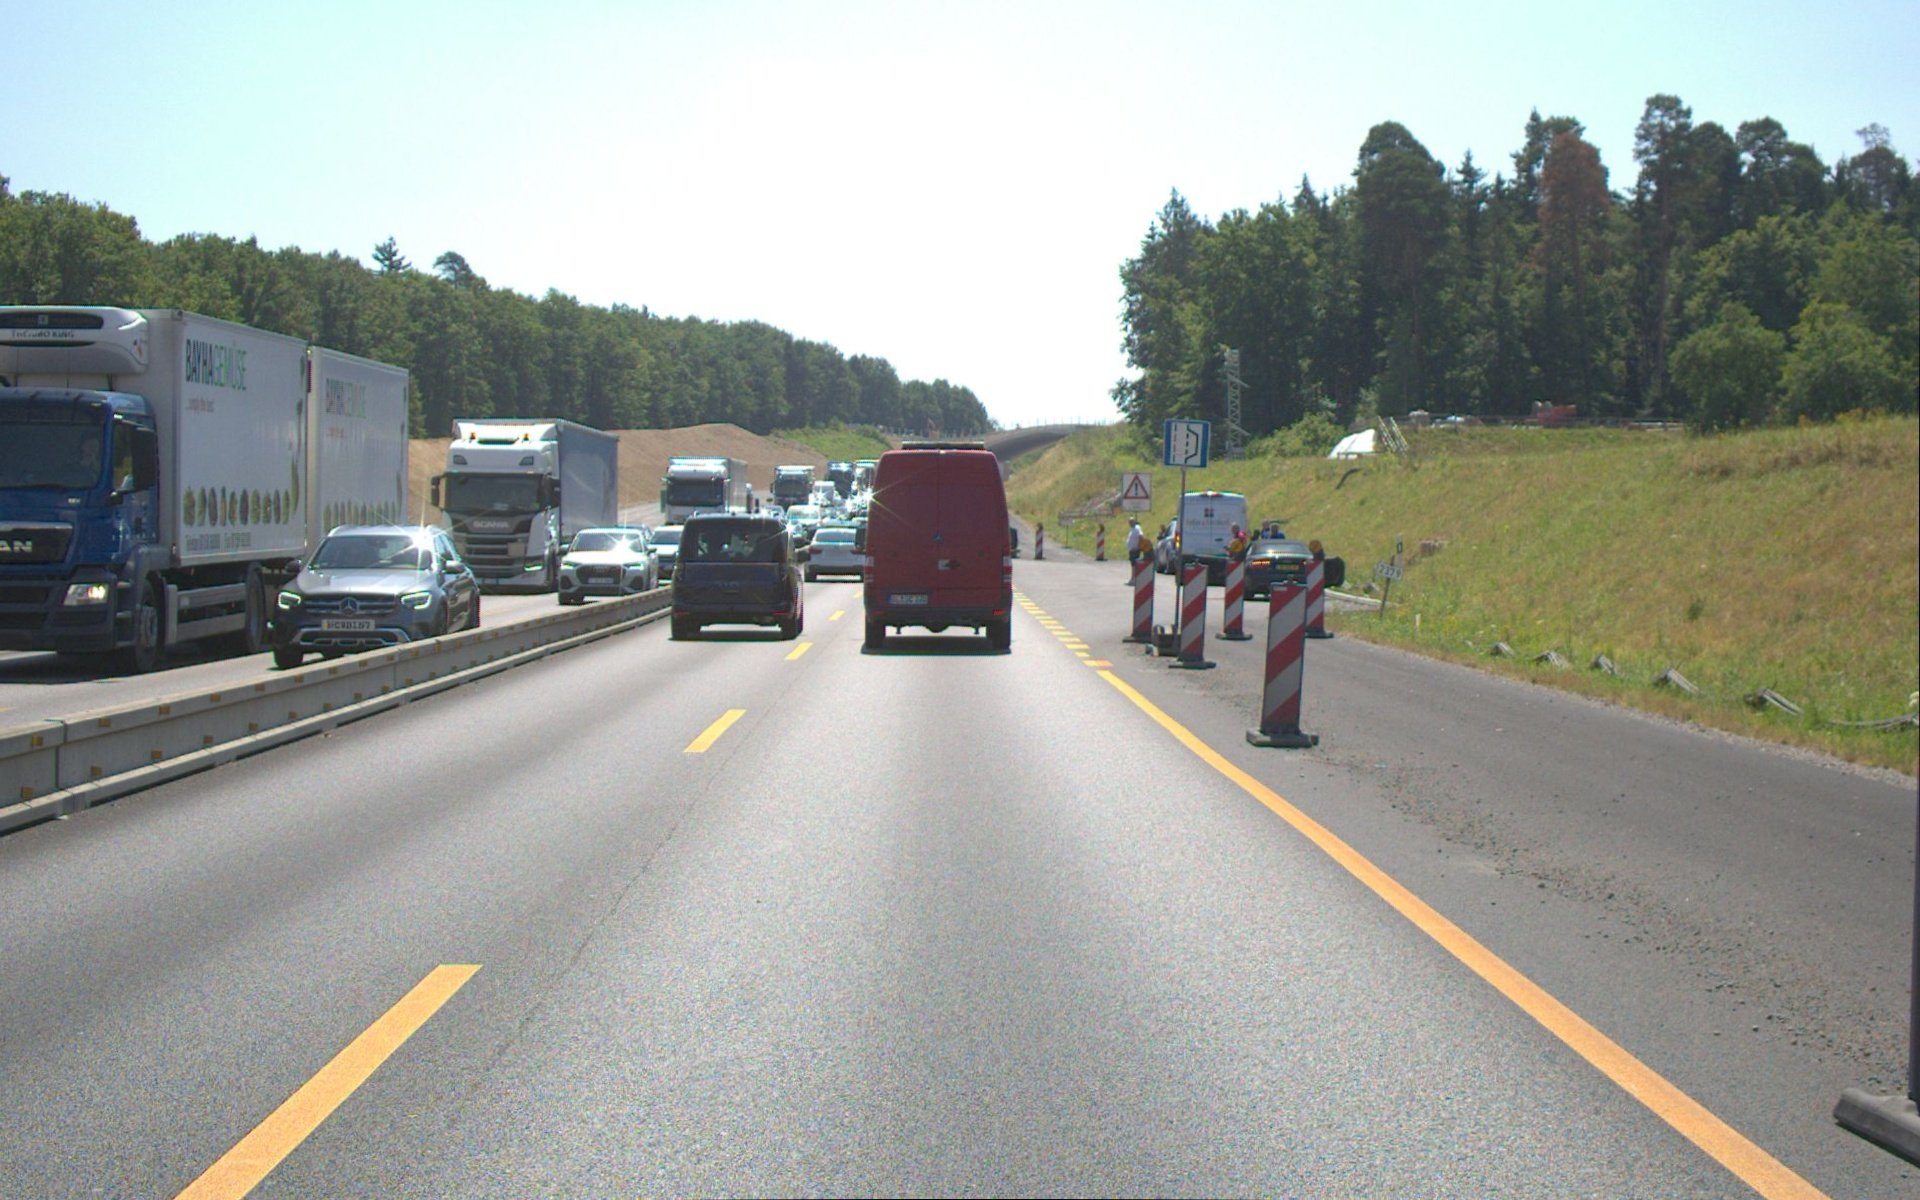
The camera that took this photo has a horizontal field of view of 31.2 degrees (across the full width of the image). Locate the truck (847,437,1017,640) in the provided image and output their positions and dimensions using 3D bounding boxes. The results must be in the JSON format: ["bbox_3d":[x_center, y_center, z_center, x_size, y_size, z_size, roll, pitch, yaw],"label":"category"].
[{"bbox_3d":[-0.427,-0.822,46.996,2.153,2.581,5.334,1,1,-1],"label":"truck"}]

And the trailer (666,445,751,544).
[{"bbox_3d":[-10.860,-4.551,149.712,2.790,4.061,13.712,1,2,-1],"label":"trailer"}]

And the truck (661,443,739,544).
[{"bbox_3d":[-10.756,-4.372,142.724,2.768,4.030,4.943,1,0,0],"label":"truck"}]

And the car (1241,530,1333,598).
[{"bbox_3d":[7.463,-0.854,78.765,1.654,1.422,4.545,-2,2,0],"label":"car"}]

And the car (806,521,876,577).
[{"bbox_3d":[-3.321,-1.426,96.290,1.831,1.517,3.961,1,1,0],"label":"car"}]

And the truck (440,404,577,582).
[{"bbox_3d":[-10.619,-2.506,81.239,2.591,4.039,5.150,1,1,-1],"label":"truck"}]

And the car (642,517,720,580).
[{"bbox_3d":[-7.317,-1.373,90.451,1.775,1.549,4.140,-2,1,-1],"label":"car"}]

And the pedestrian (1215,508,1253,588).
[{"bbox_3d":[6.240,-1.190,78.426,0.640,1.822,0.559,1,2,-21],"label":"pedestrian"}]

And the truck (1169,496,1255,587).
[{"bbox_3d":[7.140,-1.684,97.020,2.130,2.448,5.924,1,2,7],"label":"truck"}]

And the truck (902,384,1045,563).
[{"bbox_3d":[0.379,-4.063,116.061,4.400,5.477,16.604,1,0,0],"label":"truck"}]

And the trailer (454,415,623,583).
[{"bbox_3d":[-10.659,-2.529,88.340,2.653,3.925,13.997,1,1,0],"label":"trailer"}]

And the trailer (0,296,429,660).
[{"bbox_3d":[-9.825,-1.557,47.494,2.502,4.165,15.534,-1,1,0],"label":"trailer"}]

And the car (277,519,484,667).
[{"bbox_3d":[-6.753,-0.098,40.450,1.688,1.608,4.594,1,0,-1],"label":"car"}]

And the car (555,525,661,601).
[{"bbox_3d":[-7.236,-0.763,70.983,1.807,1.483,4.243,1,0,-1],"label":"car"}]

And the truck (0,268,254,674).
[{"bbox_3d":[-9.843,-1.387,38.669,2.491,4.184,5.912,-1,1,0],"label":"truck"}]

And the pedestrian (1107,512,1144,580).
[{"bbox_3d":[4.488,-1.462,93.387,0.723,1.822,0.720,1,0,-26],"label":"pedestrian"}]

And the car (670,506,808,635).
[{"bbox_3d":[-3.257,-0.482,51.370,1.751,1.818,4.783,1,1,0],"label":"car"}]

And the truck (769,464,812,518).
[{"bbox_3d":[-12.044,-7.725,244.966,2.509,3.604,9.641,1,0,0],"label":"truck"}]
